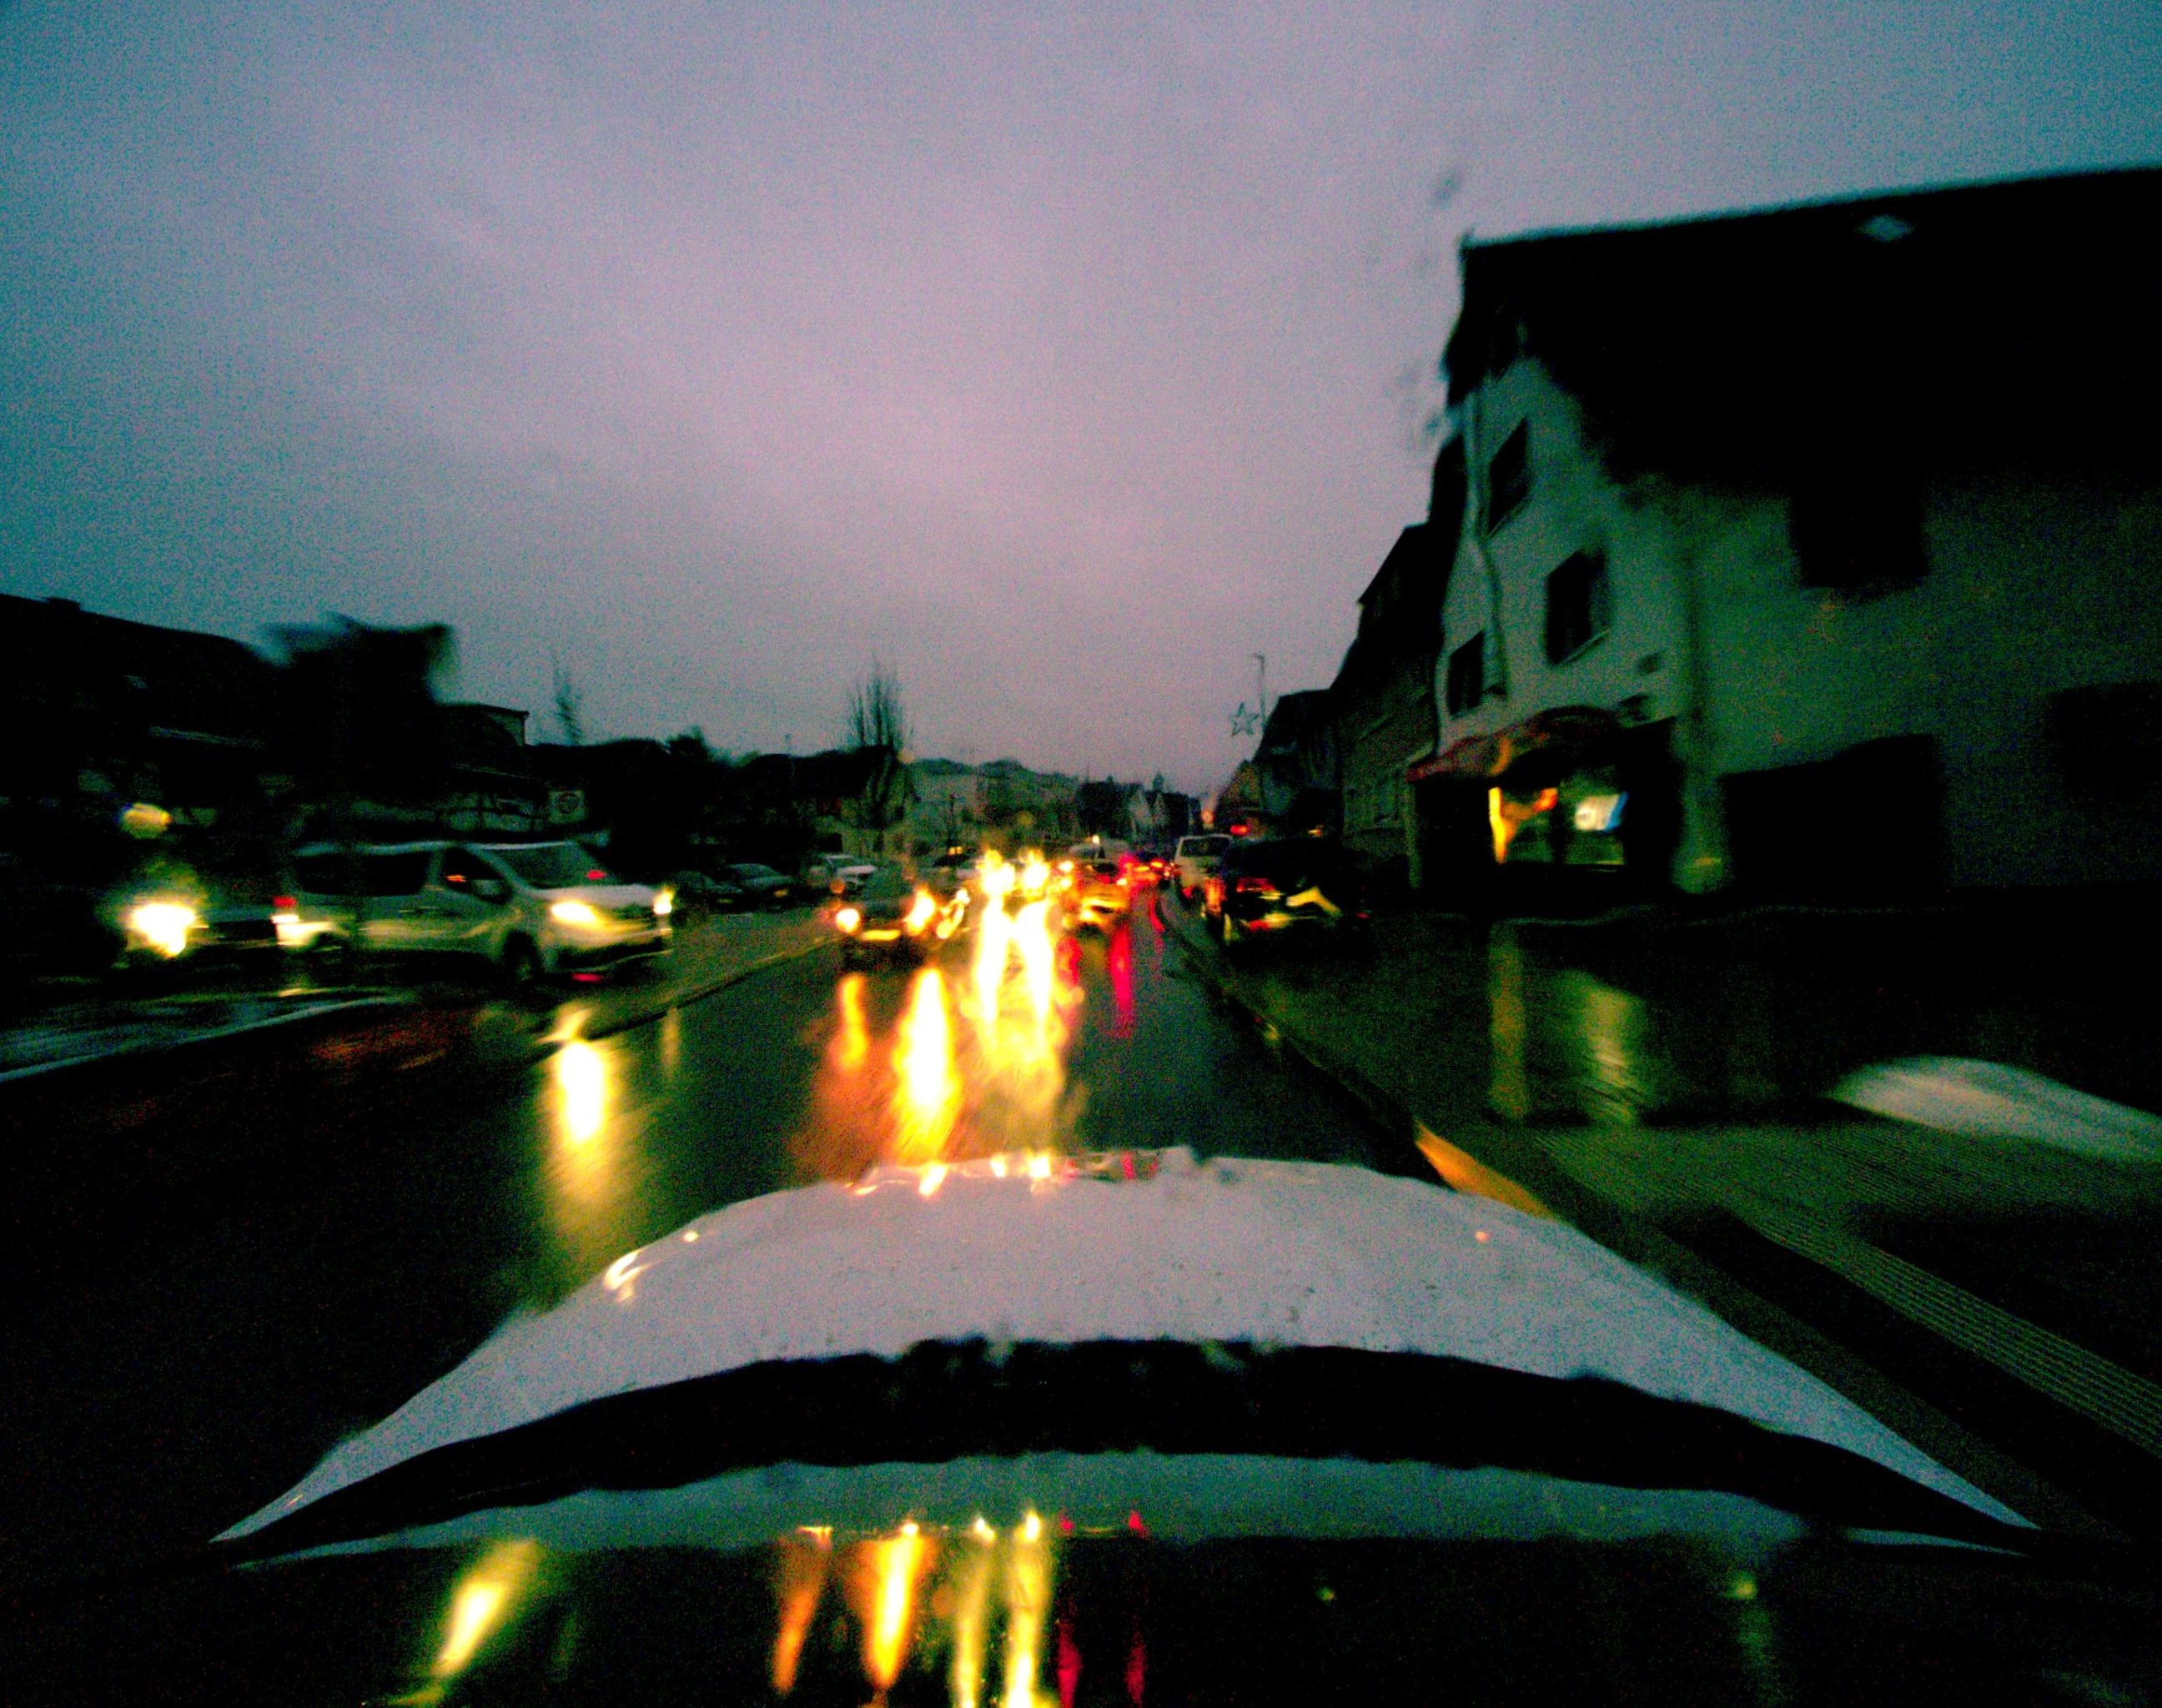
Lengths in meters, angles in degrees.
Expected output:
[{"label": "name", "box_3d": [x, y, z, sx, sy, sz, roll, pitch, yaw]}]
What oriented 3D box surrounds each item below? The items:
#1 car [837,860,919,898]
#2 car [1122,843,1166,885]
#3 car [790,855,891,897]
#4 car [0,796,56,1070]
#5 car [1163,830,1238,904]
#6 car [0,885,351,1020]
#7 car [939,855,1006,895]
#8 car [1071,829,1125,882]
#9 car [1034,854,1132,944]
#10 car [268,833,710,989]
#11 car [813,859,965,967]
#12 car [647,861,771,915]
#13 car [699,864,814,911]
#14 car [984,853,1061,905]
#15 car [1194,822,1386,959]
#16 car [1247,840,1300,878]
[{"label": "car", "box_3d": [-9.799, 1.229, 39.179, 4.060, 1.582, 1.731, -4, -1, 41]}, {"label": "car", "box_3d": [2.815, 0.412, 35.776, 1.789, 1.662, 4.006, -2, 0, 5]}, {"label": "car", "box_3d": [-10.581, 0.982, 35.646, 4.596, 1.654, 2.000, -3, -1, 41]}, {"label": "car", "box_3d": [-8.667, 0.595, 4.284, 3.972, 1.684, 2.001, -3, 0, 1]}, {"label": "car", "box_3d": [3.572, 0.329, 25.041, 1.963, 1.959, 4.860, -3, 0, 6]}, {"label": "car", "box_3d": [-14.718, 1.550, 12.988, 4.723, 1.635, 2.007, -5, 1, 11]}, {"label": "car", "box_3d": [-4.635, 0.872, 35.469, 1.895, 1.533, 4.263, -2, 0, 6]}, {"label": "car", "box_3d": [0.989, 0.066, 42.914, 2.183, 2.490, 6.153, -3, 0, 6]}, {"label": "car", "box_3d": [0.110, 0.956, 19.724, 1.986, 1.795, 4.650, -3, 0, 2]}, {"label": "car", "box_3d": [-8.563, 0.755, 11.861, 5.717, 1.945, 1.999, -1, 1, 15]}, {"label": "car", "box_3d": [-3.216, 0.916, 14.420, 1.614, 1.480, 3.840, -4, 1, 1]}, {"label": "car", "box_3d": [-11.551, 1.073, 25.186, 3.882, 1.459, 1.774, -3, 1, 37]}, {"label": "car", "box_3d": [-11.283, 1.164, 28.197, 4.021, 1.459, 1.769, -3, -1, 36]}, {"label": "car", "box_3d": [-1.943, 0.793, 28.364, 1.817, 1.518, 4.556, -3, 0, 6]}, {"label": "car", "box_3d": [3.018, 0.455, 12.788, 1.966, 1.661, 4.463, -3, 0, 3]}, {"label": "car", "box_3d": [8.806, 0.207, 37.506, 1.726, 1.561, 3.667, -4, 0, 4]}]
